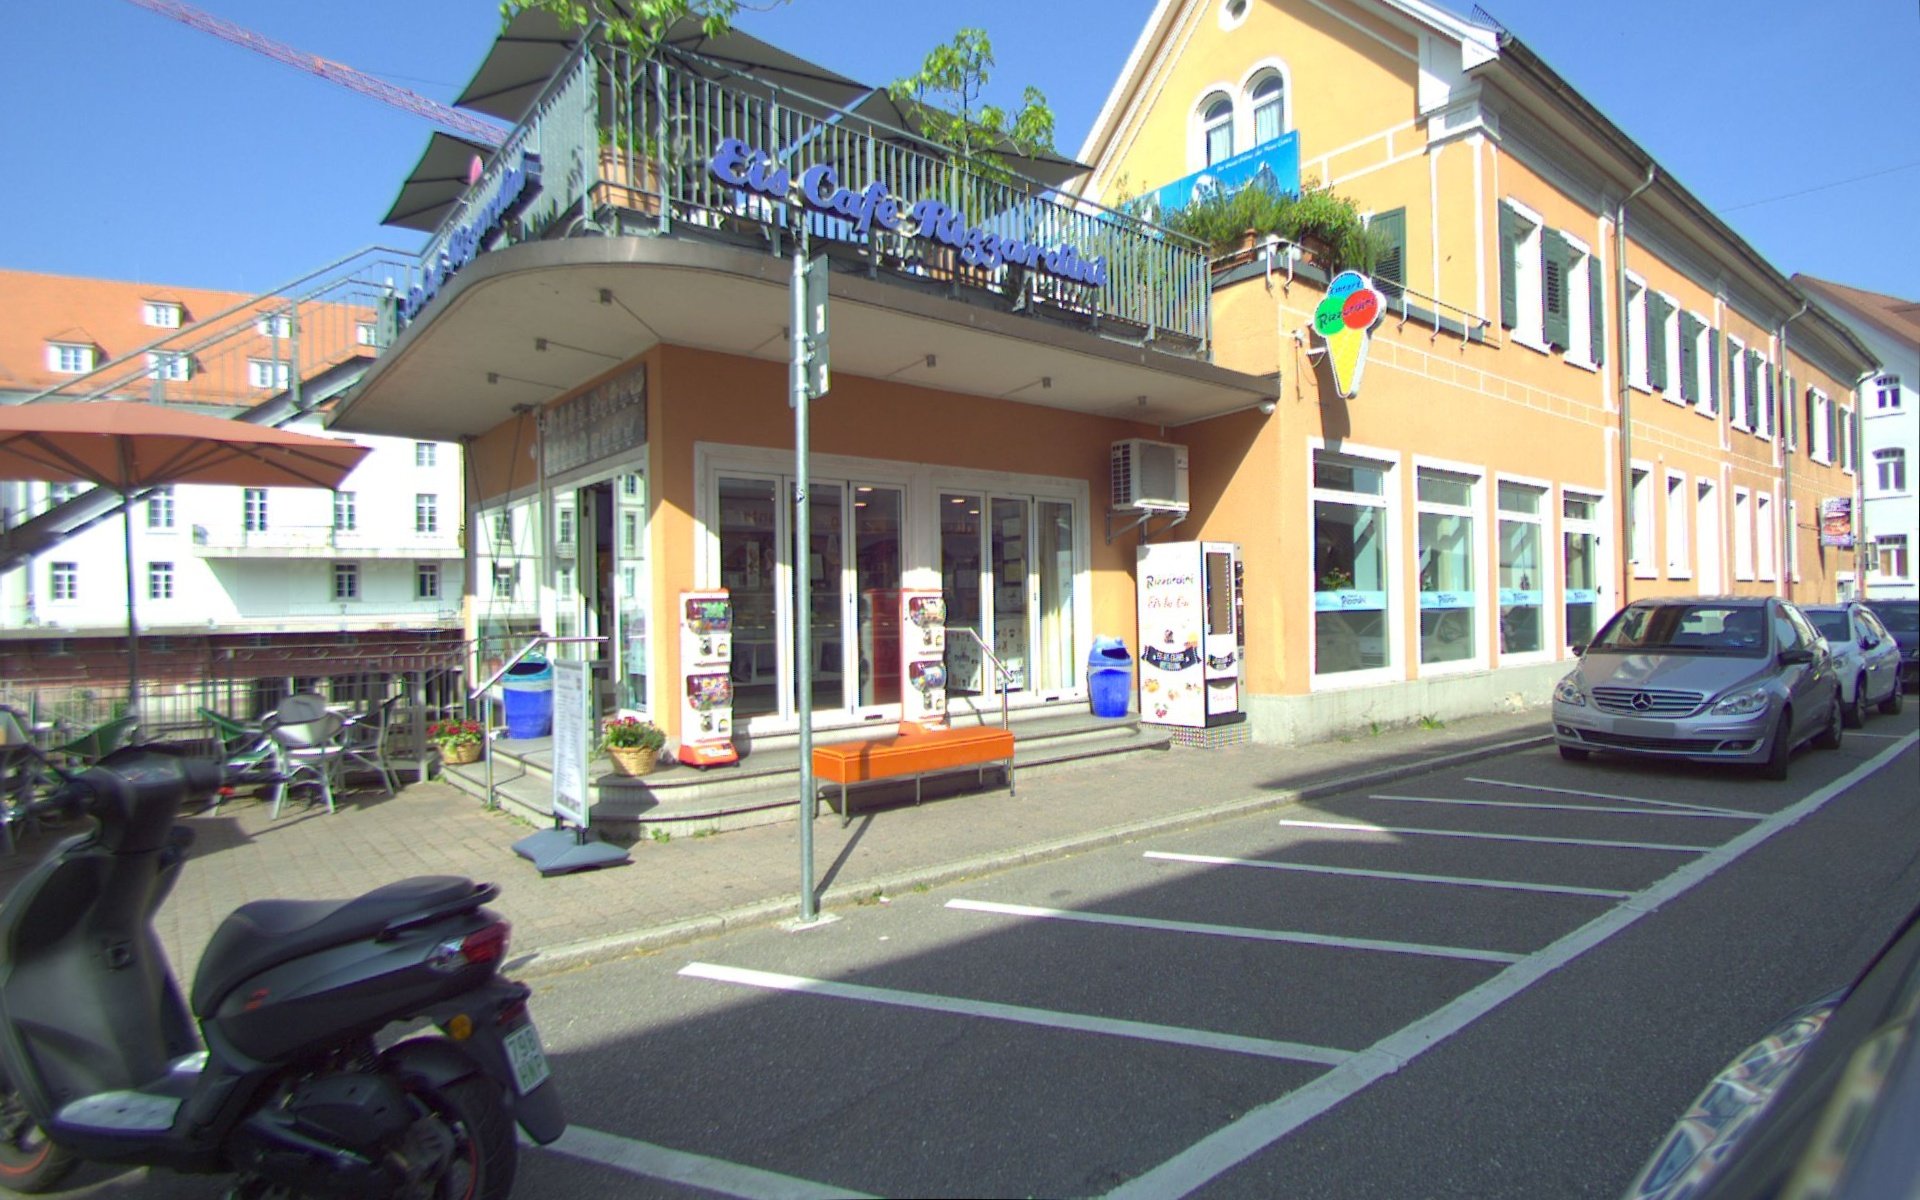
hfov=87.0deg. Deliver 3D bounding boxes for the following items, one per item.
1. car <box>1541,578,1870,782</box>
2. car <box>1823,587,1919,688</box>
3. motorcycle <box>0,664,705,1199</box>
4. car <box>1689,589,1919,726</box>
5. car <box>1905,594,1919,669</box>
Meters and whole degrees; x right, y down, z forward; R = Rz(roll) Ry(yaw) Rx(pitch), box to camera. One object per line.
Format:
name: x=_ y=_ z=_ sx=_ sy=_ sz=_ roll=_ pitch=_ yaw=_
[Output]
car: x=7.667 y=0.650 z=10.224 sx=4.514 sy=1.617 sz=1.748 roll=0 pitch=-1 yaw=-41
car: x=17.160 y=0.610 z=18.263 sx=4.174 sy=1.666 sz=1.683 roll=0 pitch=0 yaw=-39
motorcycle: x=-1.793 y=0.843 z=2.529 sx=2.058 sy=1.286 sz=0.926 roll=0 pitch=0 yaw=11
car: x=11.480 y=0.671 z=13.612 sx=4.029 sy=1.579 sz=1.682 roll=0 pitch=-1 yaw=-39
car: x=21.826 y=0.660 z=21.731 sx=4.110 sy=1.559 sz=1.683 roll=0 pitch=0 yaw=-39
